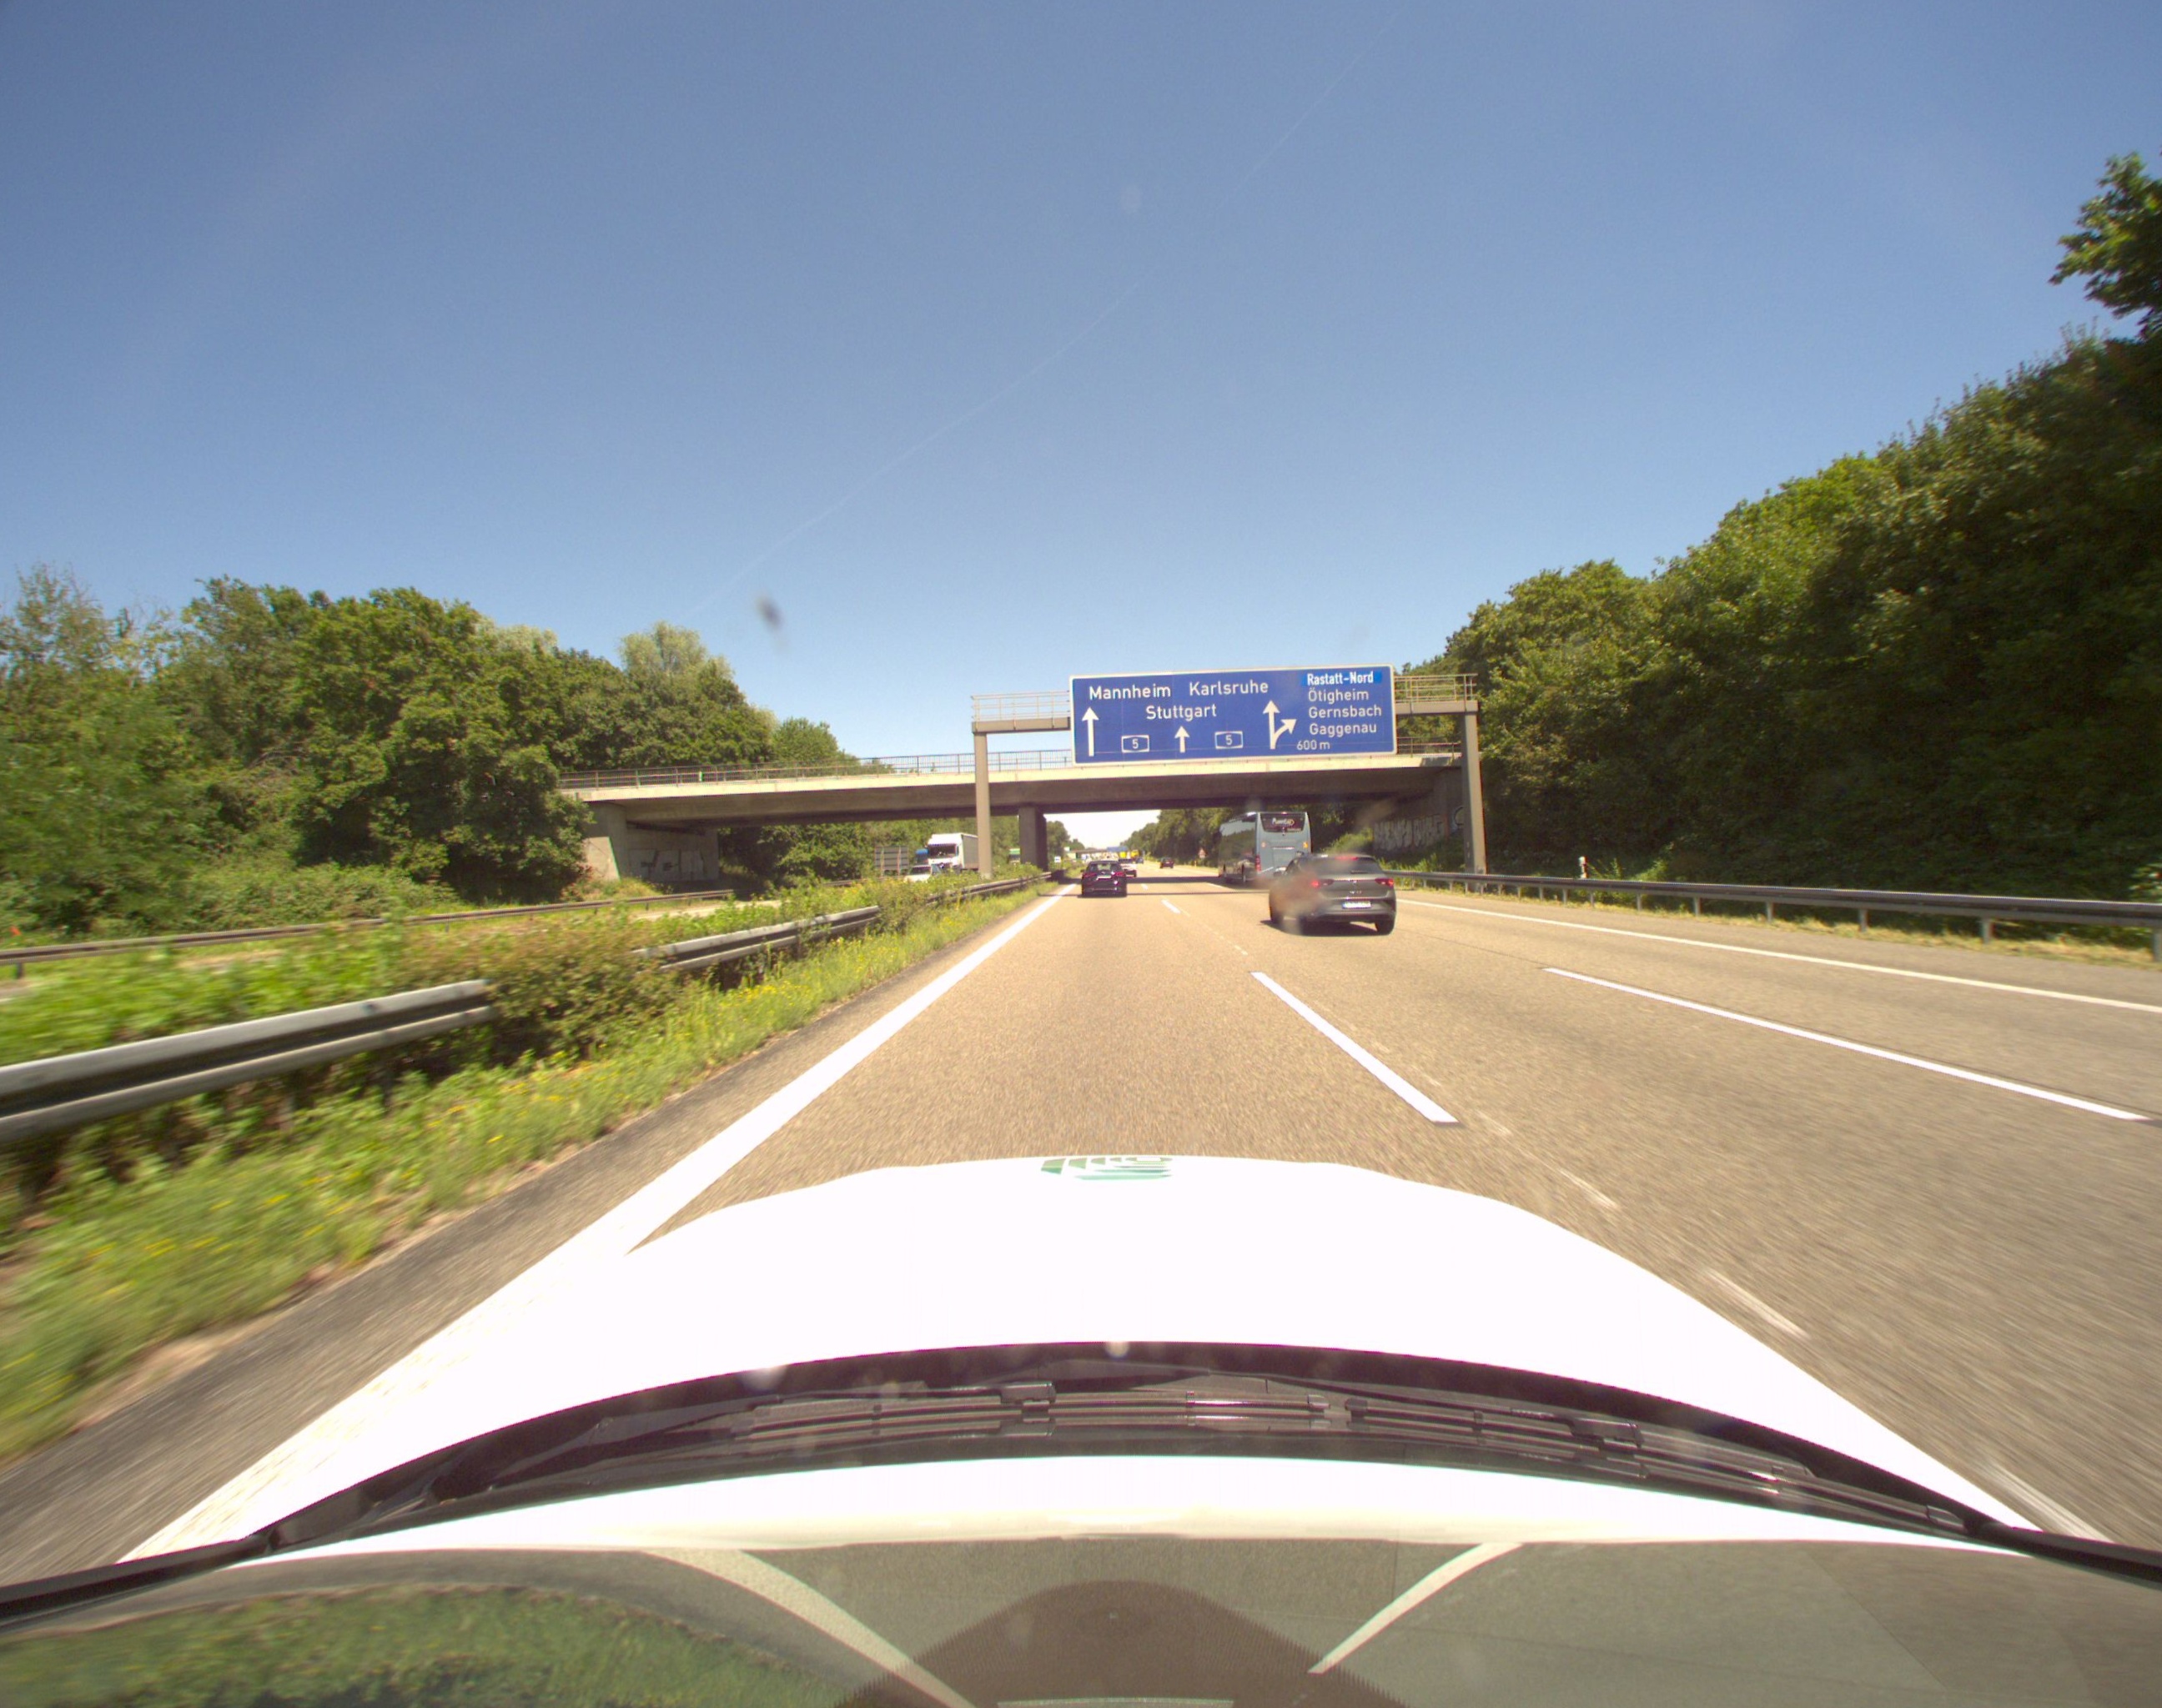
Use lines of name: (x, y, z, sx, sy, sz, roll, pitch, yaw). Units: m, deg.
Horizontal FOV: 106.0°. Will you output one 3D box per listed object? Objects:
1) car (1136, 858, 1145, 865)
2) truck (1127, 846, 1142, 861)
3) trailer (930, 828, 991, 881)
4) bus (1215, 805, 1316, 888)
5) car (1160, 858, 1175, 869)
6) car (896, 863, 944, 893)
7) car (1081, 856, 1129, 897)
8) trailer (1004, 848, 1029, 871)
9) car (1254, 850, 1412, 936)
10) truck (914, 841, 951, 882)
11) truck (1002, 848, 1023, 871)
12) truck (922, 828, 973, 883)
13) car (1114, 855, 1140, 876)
car: (14.361, 1.879, 197.291, 2.072, 1.532, 4.244, -1, 0, 3)
truck: (16.193, -0.103, 247.454, 3.634, 4.590, 15.768, 0, 0, 1)
trailer: (-10.747, 0.087, 74.307, 2.818, 4.224, 13.842, -4, 0, 2)
bus: (9.156, -0.297, 42.088, 2.791, 3.596, 12.480, -1, 0, 2)
car: (12.000, 1.248, 113.079, 1.782, 1.461, 3.952, -1, 0, 3)
car: (-9.381, 1.379, 47.783, 1.893, 1.553, 4.240, -2, 0, 0)
car: (0.950, 0.845, 32.769, 1.793, 1.502, 4.242, -1, 0, 1)
trailer: (-12.319, 1.001, 156.838, 3.205, 4.059, 12.746, -2, 0, 2)
car: (5.060, 0.706, 17.092, 1.892, 1.532, 4.760, -1, 0, 1)
truck: (-14.805, 0.736, 81.353, 2.350, 3.775, 5.254, -4, 0, 2)
truck: (-12.530, 0.947, 149.644, 3.205, 4.059, 5.620, -2, -1, 1)
truck: (-10.986, 0.100, 67.500, 2.818, 4.211, 5.891, -4, 0, 2)
car: (3.693, 0.897, 65.498, 1.892, 1.532, 4.242, -1, 0, 1)
